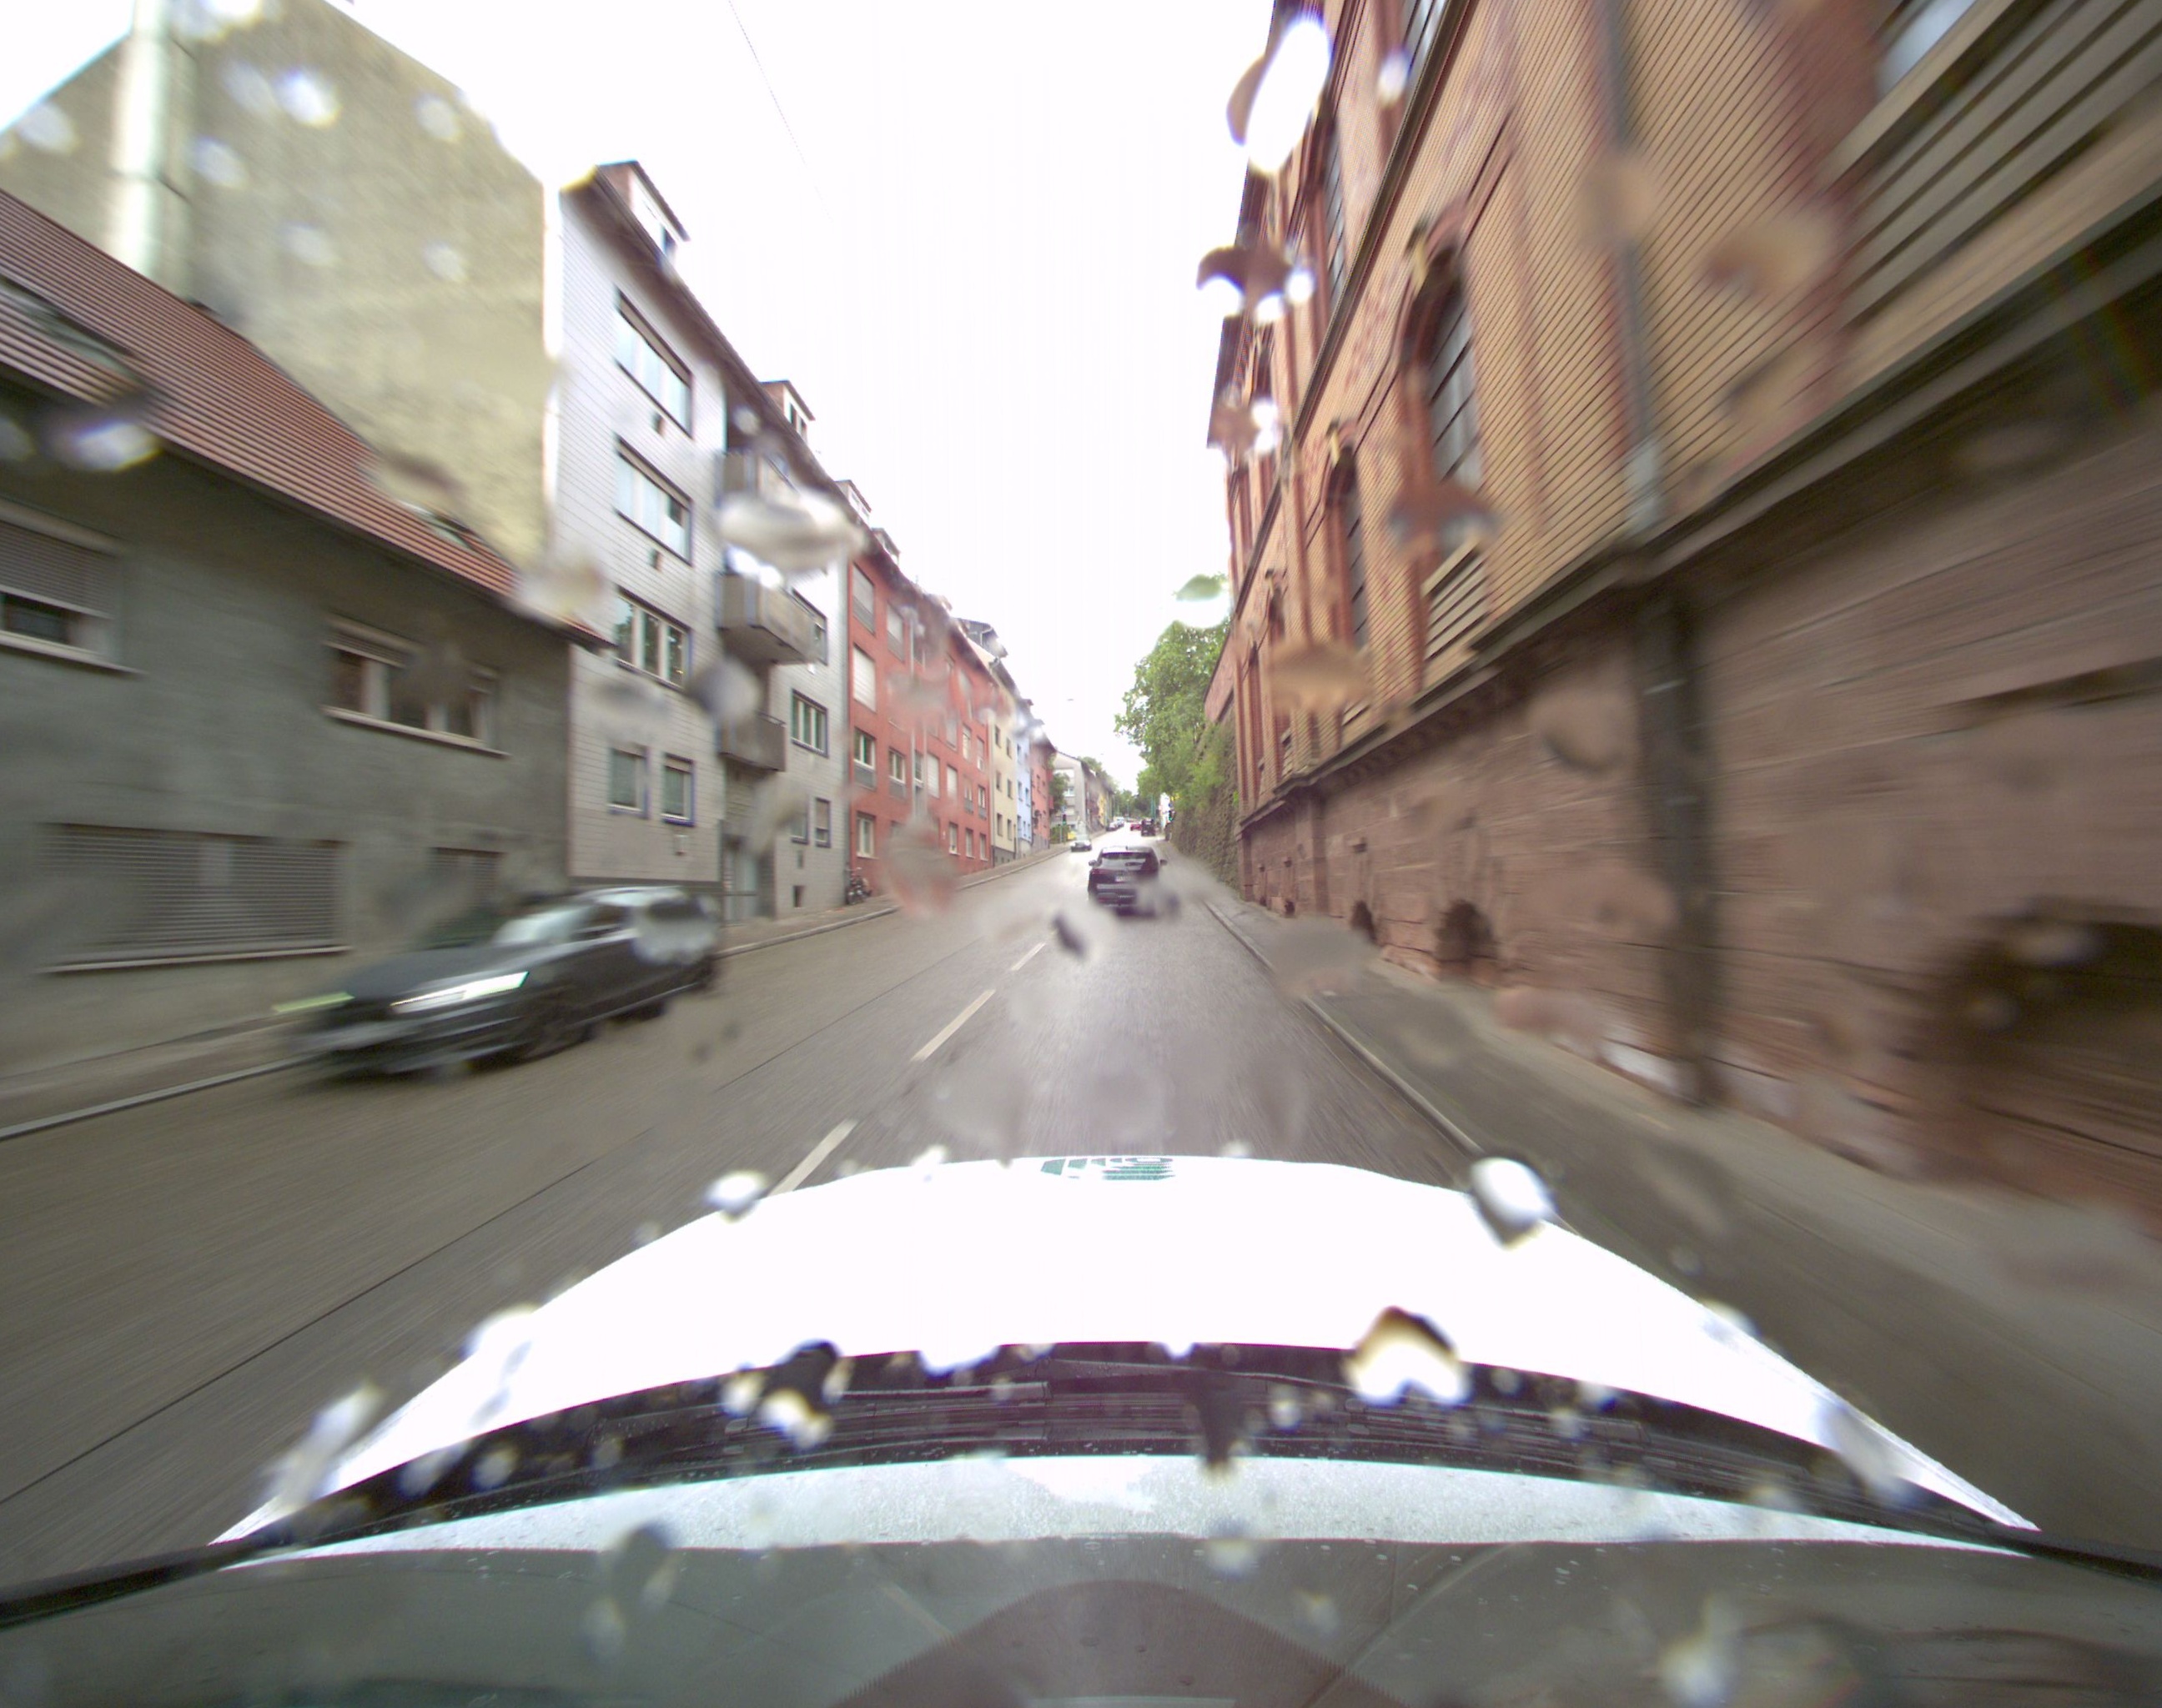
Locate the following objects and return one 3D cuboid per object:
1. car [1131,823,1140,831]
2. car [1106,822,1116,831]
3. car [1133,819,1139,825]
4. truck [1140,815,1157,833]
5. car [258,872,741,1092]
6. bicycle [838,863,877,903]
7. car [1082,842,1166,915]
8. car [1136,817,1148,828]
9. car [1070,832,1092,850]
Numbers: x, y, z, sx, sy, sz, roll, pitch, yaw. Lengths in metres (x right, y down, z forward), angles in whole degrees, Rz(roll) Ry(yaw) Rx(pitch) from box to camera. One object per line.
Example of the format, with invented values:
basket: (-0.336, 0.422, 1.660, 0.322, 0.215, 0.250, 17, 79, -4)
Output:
car: (10.485, -5.138, 156.684, 1.786, 1.510, 4.005, -2, 1, 4)
car: (5.978, -5.381, 160.159, 1.786, 1.510, 4.005, -2, 1, 4)
car: (16.622, -9.566, 244.434, 1.786, 1.510, 4.005, -2, 1, 4)
truck: (9.502, -4.205, 115.053, 2.279, 2.440, 4.458, -2, 1, 4)
car: (-5.055, 0.980, 7.859, 1.637, 1.378, 3.854, -4, 0, 3)
bicycle: (-6.852, 0.873, 25.066, 0.496, 1.107, 1.803, -2, 1, 5)
car: (1.073, 0.529, 20.487, 1.873, 1.593, 3.924, -1, 1, 3)
car: (9.682, -5.029, 129.922, 1.786, 1.510, 4.506, -2, 1, 4)
car: (0.002, -1.217, 73.374, 1.706, 1.447, 3.926, -2, 2, 4)
